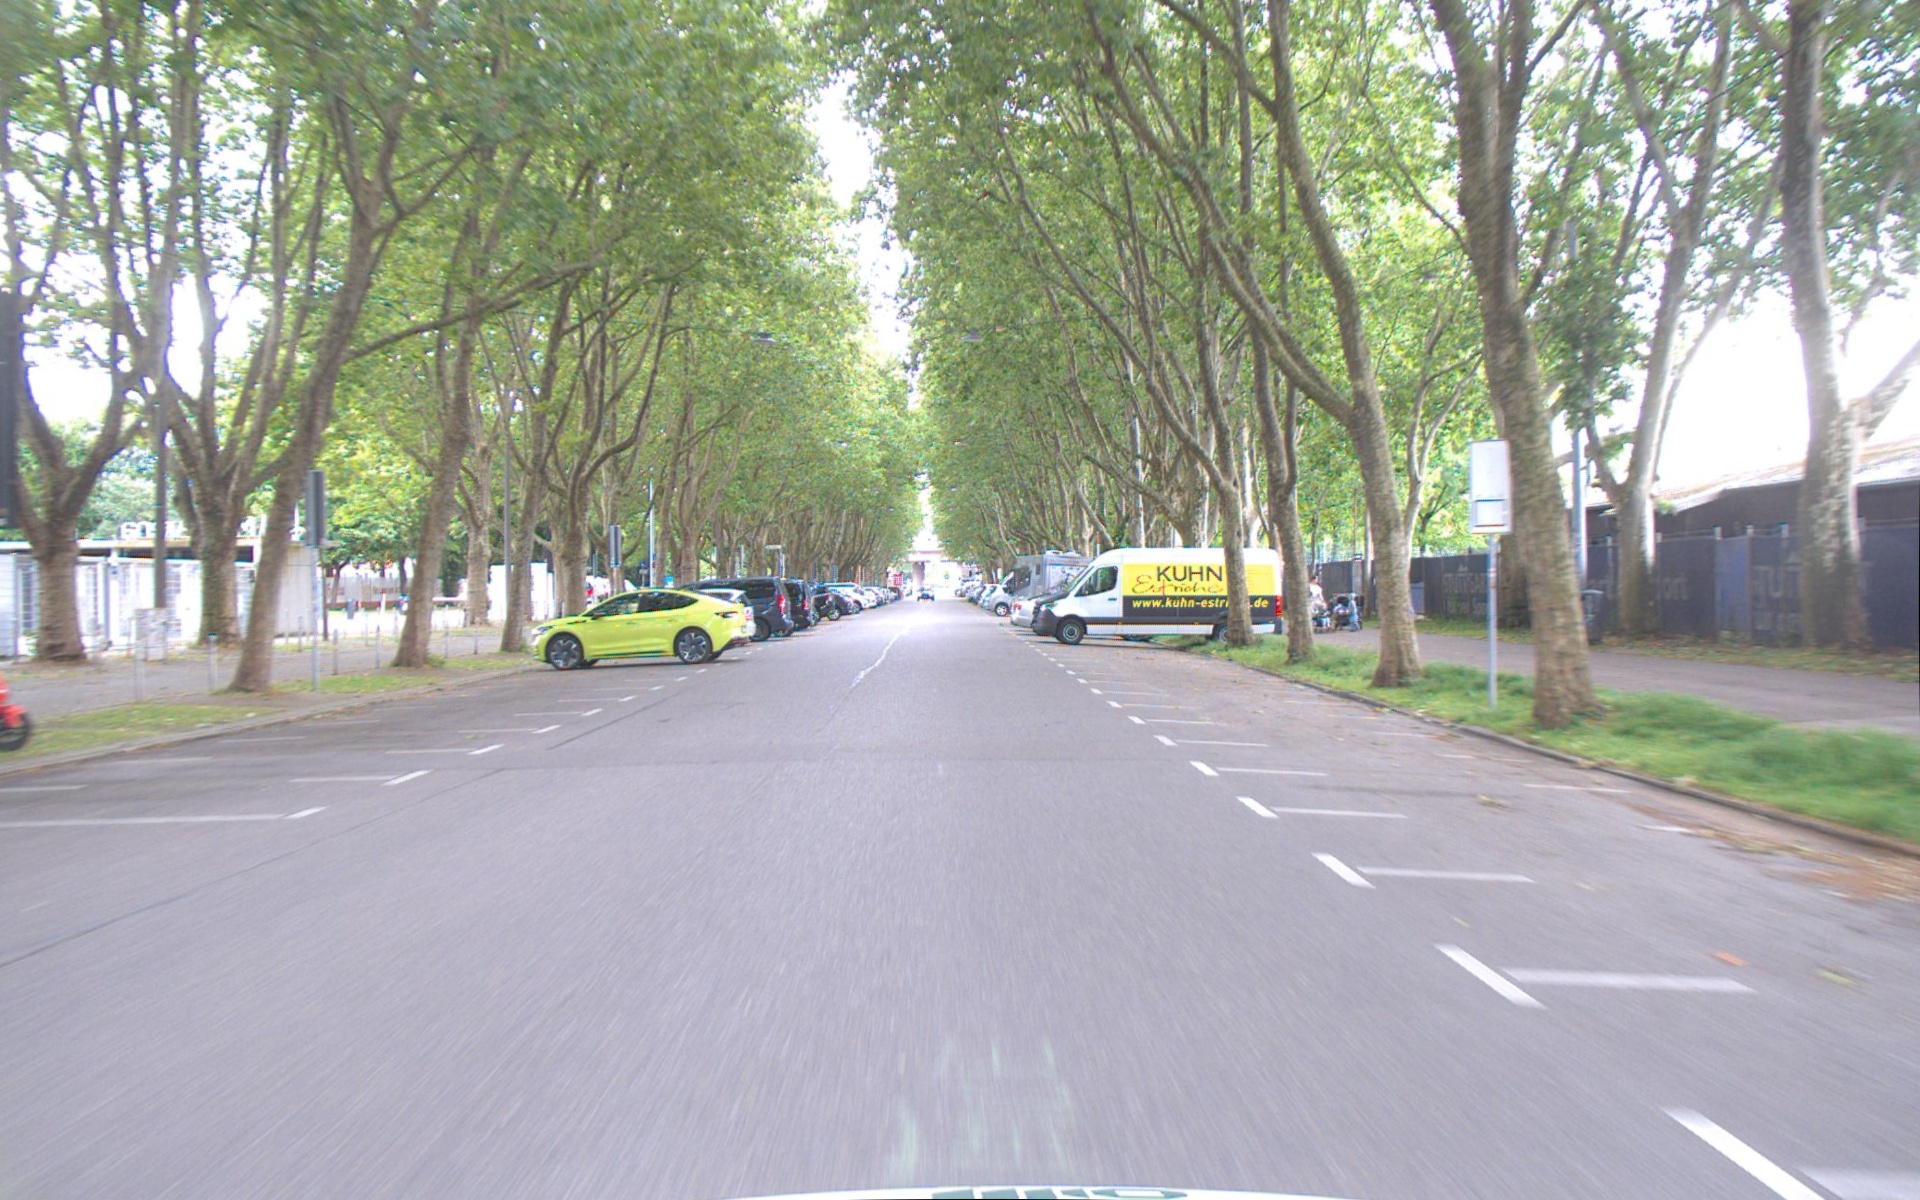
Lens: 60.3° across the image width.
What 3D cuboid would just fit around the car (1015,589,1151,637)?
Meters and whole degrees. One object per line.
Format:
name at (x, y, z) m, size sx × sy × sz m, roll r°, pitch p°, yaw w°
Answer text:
car at (3.937, 0.404, 53.085) m, size 4.268 × 1.471 × 1.613 m, roll 0°, pitch 0°, yaw 3°

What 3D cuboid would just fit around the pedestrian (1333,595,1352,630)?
pedestrian at (11.339, 0.369, 48.991) m, size 0.415 × 1.053 × 0.391 m, roll 0°, pitch 0°, yaw -41°

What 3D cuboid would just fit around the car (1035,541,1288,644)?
car at (5.471, -0.199, 45.581) m, size 6.739 × 2.742 × 2.127 m, roll 0°, pitch 0°, yaw 0°

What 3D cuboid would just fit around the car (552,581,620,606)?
car at (-34.407, -0.604, 152.256) m, size 5.880 × 2.292 × 2.000 m, roll 0°, pitch 0°, yaw -1°

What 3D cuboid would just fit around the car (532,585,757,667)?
car at (-6.712, 0.542, 35.443) m, size 4.423 × 1.646 × 1.758 m, roll -1°, pitch 0°, yaw 1°

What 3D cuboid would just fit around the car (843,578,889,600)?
car at (-7.874, -0.912, 138.842) m, size 3.751 × 1.656 × 1.951 m, roll -2°, pitch 0°, yaw -4°

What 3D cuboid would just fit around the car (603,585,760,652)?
car at (-7.554, 0.495, 45.176) m, size 4.026 × 1.596 × 1.756 m, roll -3°, pitch 0°, yaw -6°

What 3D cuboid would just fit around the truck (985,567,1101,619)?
truck at (4.477, -0.368, 89.248) m, size 6.163 × 2.762 × 2.098 m, roll 0°, pitch 0°, yaw 2°

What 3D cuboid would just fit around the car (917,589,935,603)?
car at (-3.638, -0.446, 177.259) m, size 1.622 × 1.387 × 4.108 m, roll -3°, pitch 0°, yaw -4°

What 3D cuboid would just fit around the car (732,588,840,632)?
car at (-7.667, 0.445, 72.637) m, size 4.571 × 1.852 × 1.801 m, roll -1°, pitch -1°, yaw -12°

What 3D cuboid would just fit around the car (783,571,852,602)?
car at (-9.174, -0.869, 106.592) m, size 4.254 × 1.696 × 1.999 m, roll -3°, pitch 0°, yaw -3°

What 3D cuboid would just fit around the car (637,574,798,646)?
car at (-7.318, 0.292, 50.280) m, size 4.670 × 1.957 × 2.016 m, roll -2°, pitch 0°, yaw -6°

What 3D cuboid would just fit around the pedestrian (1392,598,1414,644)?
pedestrian at (10.857, 0.519, 40.549) m, size 0.387 × 1.103 × 0.419 m, roll -3°, pitch 0°, yaw 3°

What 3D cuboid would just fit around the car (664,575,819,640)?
car at (-7.254, 0.226, 55.349) m, size 4.805 × 1.957 × 2.208 m, roll -2°, pitch 0°, yaw 0°

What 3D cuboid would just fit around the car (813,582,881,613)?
car at (-8.280, -0.167, 121.640) m, size 4.795 × 2.054 × 1.919 m, roll -3°, pitch 0°, yaw -2°

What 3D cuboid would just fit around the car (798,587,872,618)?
car at (-7.431, 0.153, 98.774) m, size 4.292 × 1.624 × 1.999 m, roll -3°, pitch 0°, yaw -3°

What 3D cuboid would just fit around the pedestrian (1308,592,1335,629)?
pedestrian at (10.397, 0.297, 47.567) m, size 0.626 × 1.078 × 0.676 m, roll 0°, pitch 0°, yaw 1°

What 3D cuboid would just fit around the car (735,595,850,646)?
car at (-8.067, 0.974, 80.154) m, size 5.327 × 2.165 × 1.939 m, roll -3°, pitch 1°, yaw -2°

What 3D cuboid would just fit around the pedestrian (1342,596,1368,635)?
pedestrian at (11.383, 0.439, 47.642) m, size 0.580 × 1.067 × 0.589 m, roll -3°, pitch 1°, yaw 2°

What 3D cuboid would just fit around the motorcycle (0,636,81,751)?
motorcycle at (-10.357, 0.984, 17.227) m, size 0.565 × 1.178 × 2.064 m, roll 0°, pitch 0°, yaw 42°

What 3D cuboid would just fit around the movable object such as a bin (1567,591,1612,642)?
movable object such as a bin at (12.858, 0.337, 33.793) m, size 0.557 × 0.975 × 0.674 m, roll -5°, pitch 0°, yaw -2°

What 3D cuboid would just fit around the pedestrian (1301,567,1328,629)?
pedestrian at (10.369, -0.053, 48.404) m, size 0.626 × 1.771 × 0.621 m, roll -3°, pitch 1°, yaw 2°

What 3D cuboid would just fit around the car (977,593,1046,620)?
car at (3.090, 0.405, 99.170) m, size 4.035 × 1.454 × 1.703 m, roll 2°, pitch 0°, yaw 1°

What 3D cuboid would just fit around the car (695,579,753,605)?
car at (-24.538, -0.812, 171.973) m, size 5.668 × 2.642 × 2.000 m, roll 0°, pitch 0°, yaw 0°

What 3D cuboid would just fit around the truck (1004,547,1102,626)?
truck at (3.653, -0.519, 66.758) m, size 2.413 × 2.989 × 7.522 m, roll 0°, pitch 0°, yaw -9°

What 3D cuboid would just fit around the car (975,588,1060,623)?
car at (2.919, 0.260, 84.334) m, size 4.250 × 1.646 × 1.804 m, roll 1°, pitch 0°, yaw 2°
